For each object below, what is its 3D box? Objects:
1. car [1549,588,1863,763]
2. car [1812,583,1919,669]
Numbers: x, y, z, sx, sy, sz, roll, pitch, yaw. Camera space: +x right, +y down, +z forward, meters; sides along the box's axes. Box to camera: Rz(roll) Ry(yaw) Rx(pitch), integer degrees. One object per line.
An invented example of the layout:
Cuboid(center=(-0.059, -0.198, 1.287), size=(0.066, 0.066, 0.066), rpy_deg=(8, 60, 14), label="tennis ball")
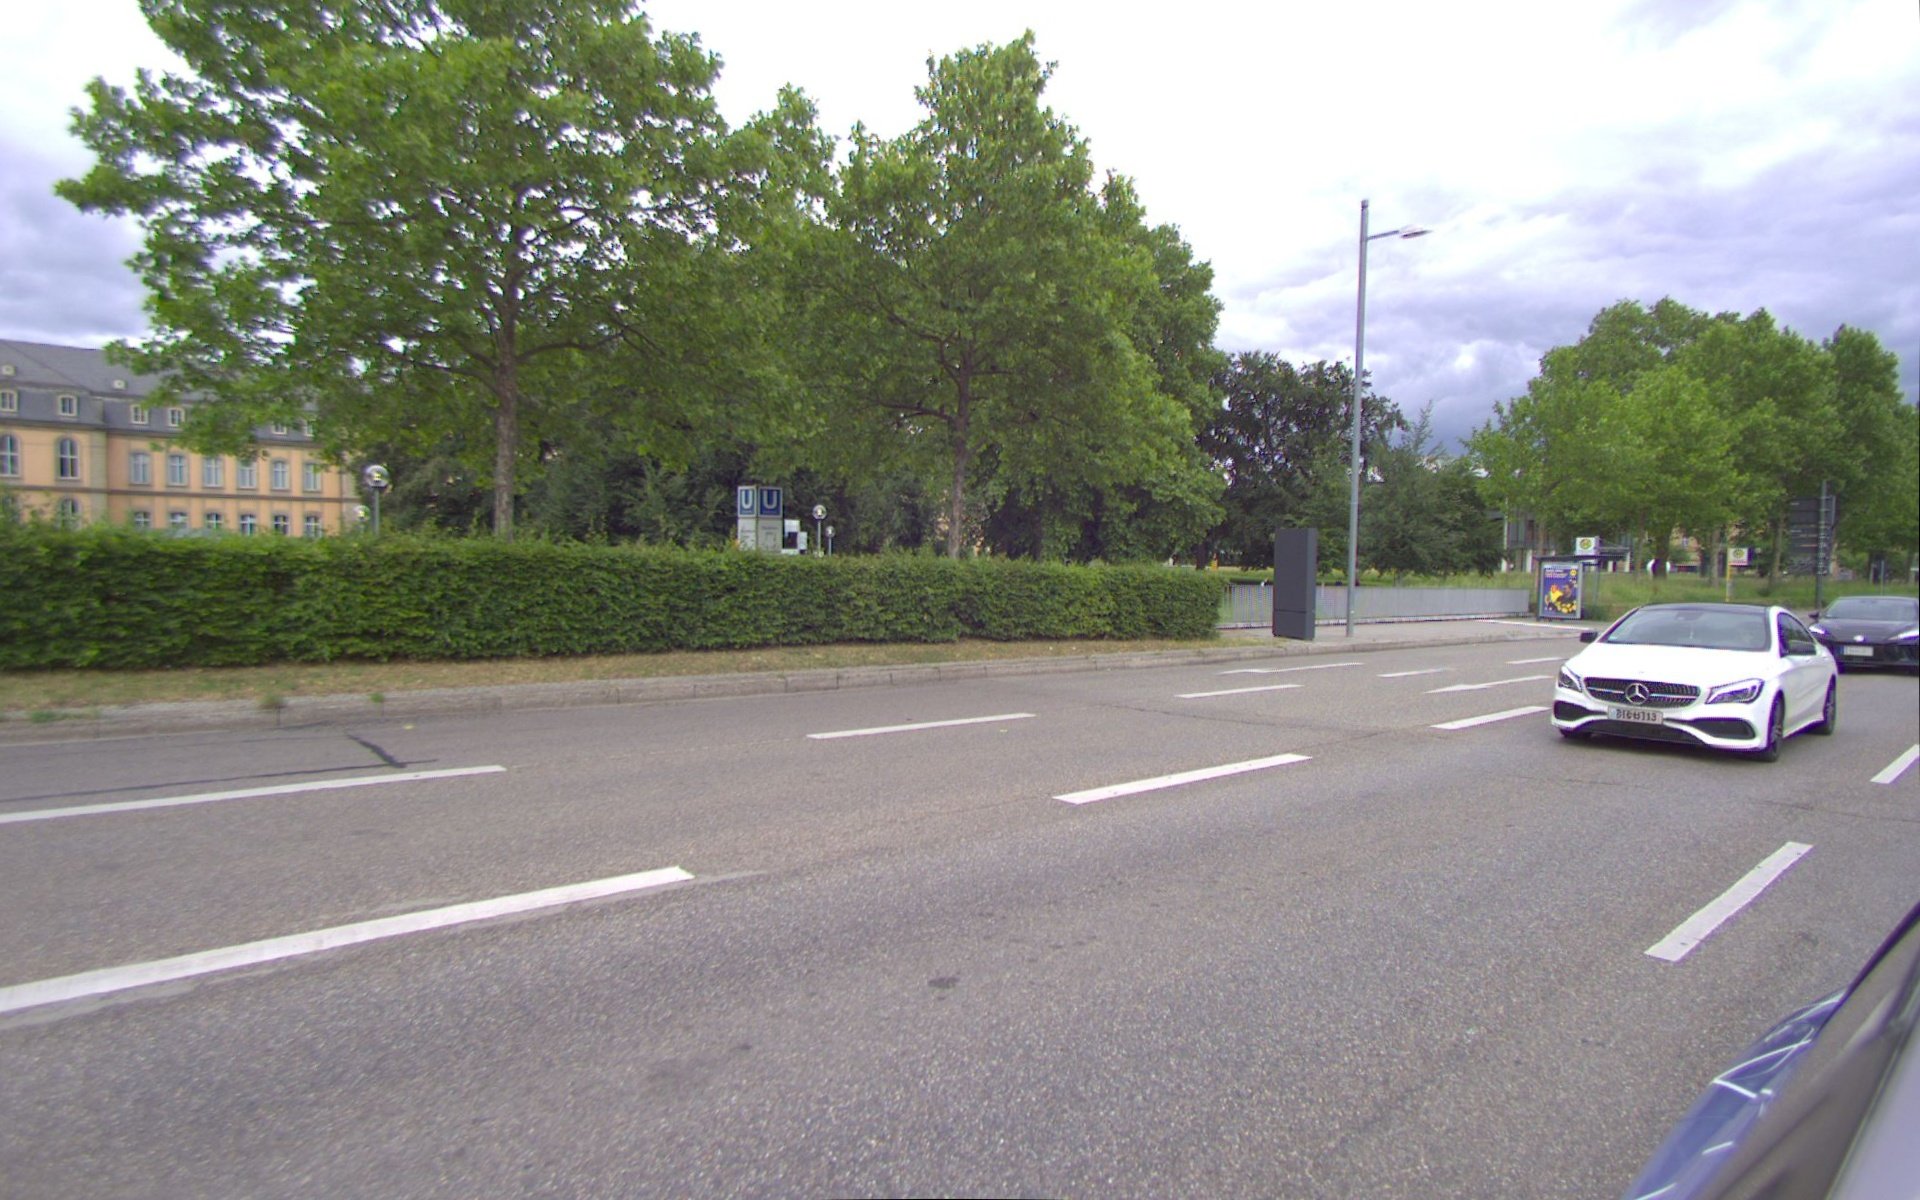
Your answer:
Cuboid(center=(7.978, 0.610, 10.659), size=(4.427, 1.441, 1.722), rpy_deg=(-1, 2, -41), label="car")
Cuboid(center=(18.607, 0.476, 20.203), size=(4.047, 1.543, 1.828), rpy_deg=(0, 1, -41), label="car")
